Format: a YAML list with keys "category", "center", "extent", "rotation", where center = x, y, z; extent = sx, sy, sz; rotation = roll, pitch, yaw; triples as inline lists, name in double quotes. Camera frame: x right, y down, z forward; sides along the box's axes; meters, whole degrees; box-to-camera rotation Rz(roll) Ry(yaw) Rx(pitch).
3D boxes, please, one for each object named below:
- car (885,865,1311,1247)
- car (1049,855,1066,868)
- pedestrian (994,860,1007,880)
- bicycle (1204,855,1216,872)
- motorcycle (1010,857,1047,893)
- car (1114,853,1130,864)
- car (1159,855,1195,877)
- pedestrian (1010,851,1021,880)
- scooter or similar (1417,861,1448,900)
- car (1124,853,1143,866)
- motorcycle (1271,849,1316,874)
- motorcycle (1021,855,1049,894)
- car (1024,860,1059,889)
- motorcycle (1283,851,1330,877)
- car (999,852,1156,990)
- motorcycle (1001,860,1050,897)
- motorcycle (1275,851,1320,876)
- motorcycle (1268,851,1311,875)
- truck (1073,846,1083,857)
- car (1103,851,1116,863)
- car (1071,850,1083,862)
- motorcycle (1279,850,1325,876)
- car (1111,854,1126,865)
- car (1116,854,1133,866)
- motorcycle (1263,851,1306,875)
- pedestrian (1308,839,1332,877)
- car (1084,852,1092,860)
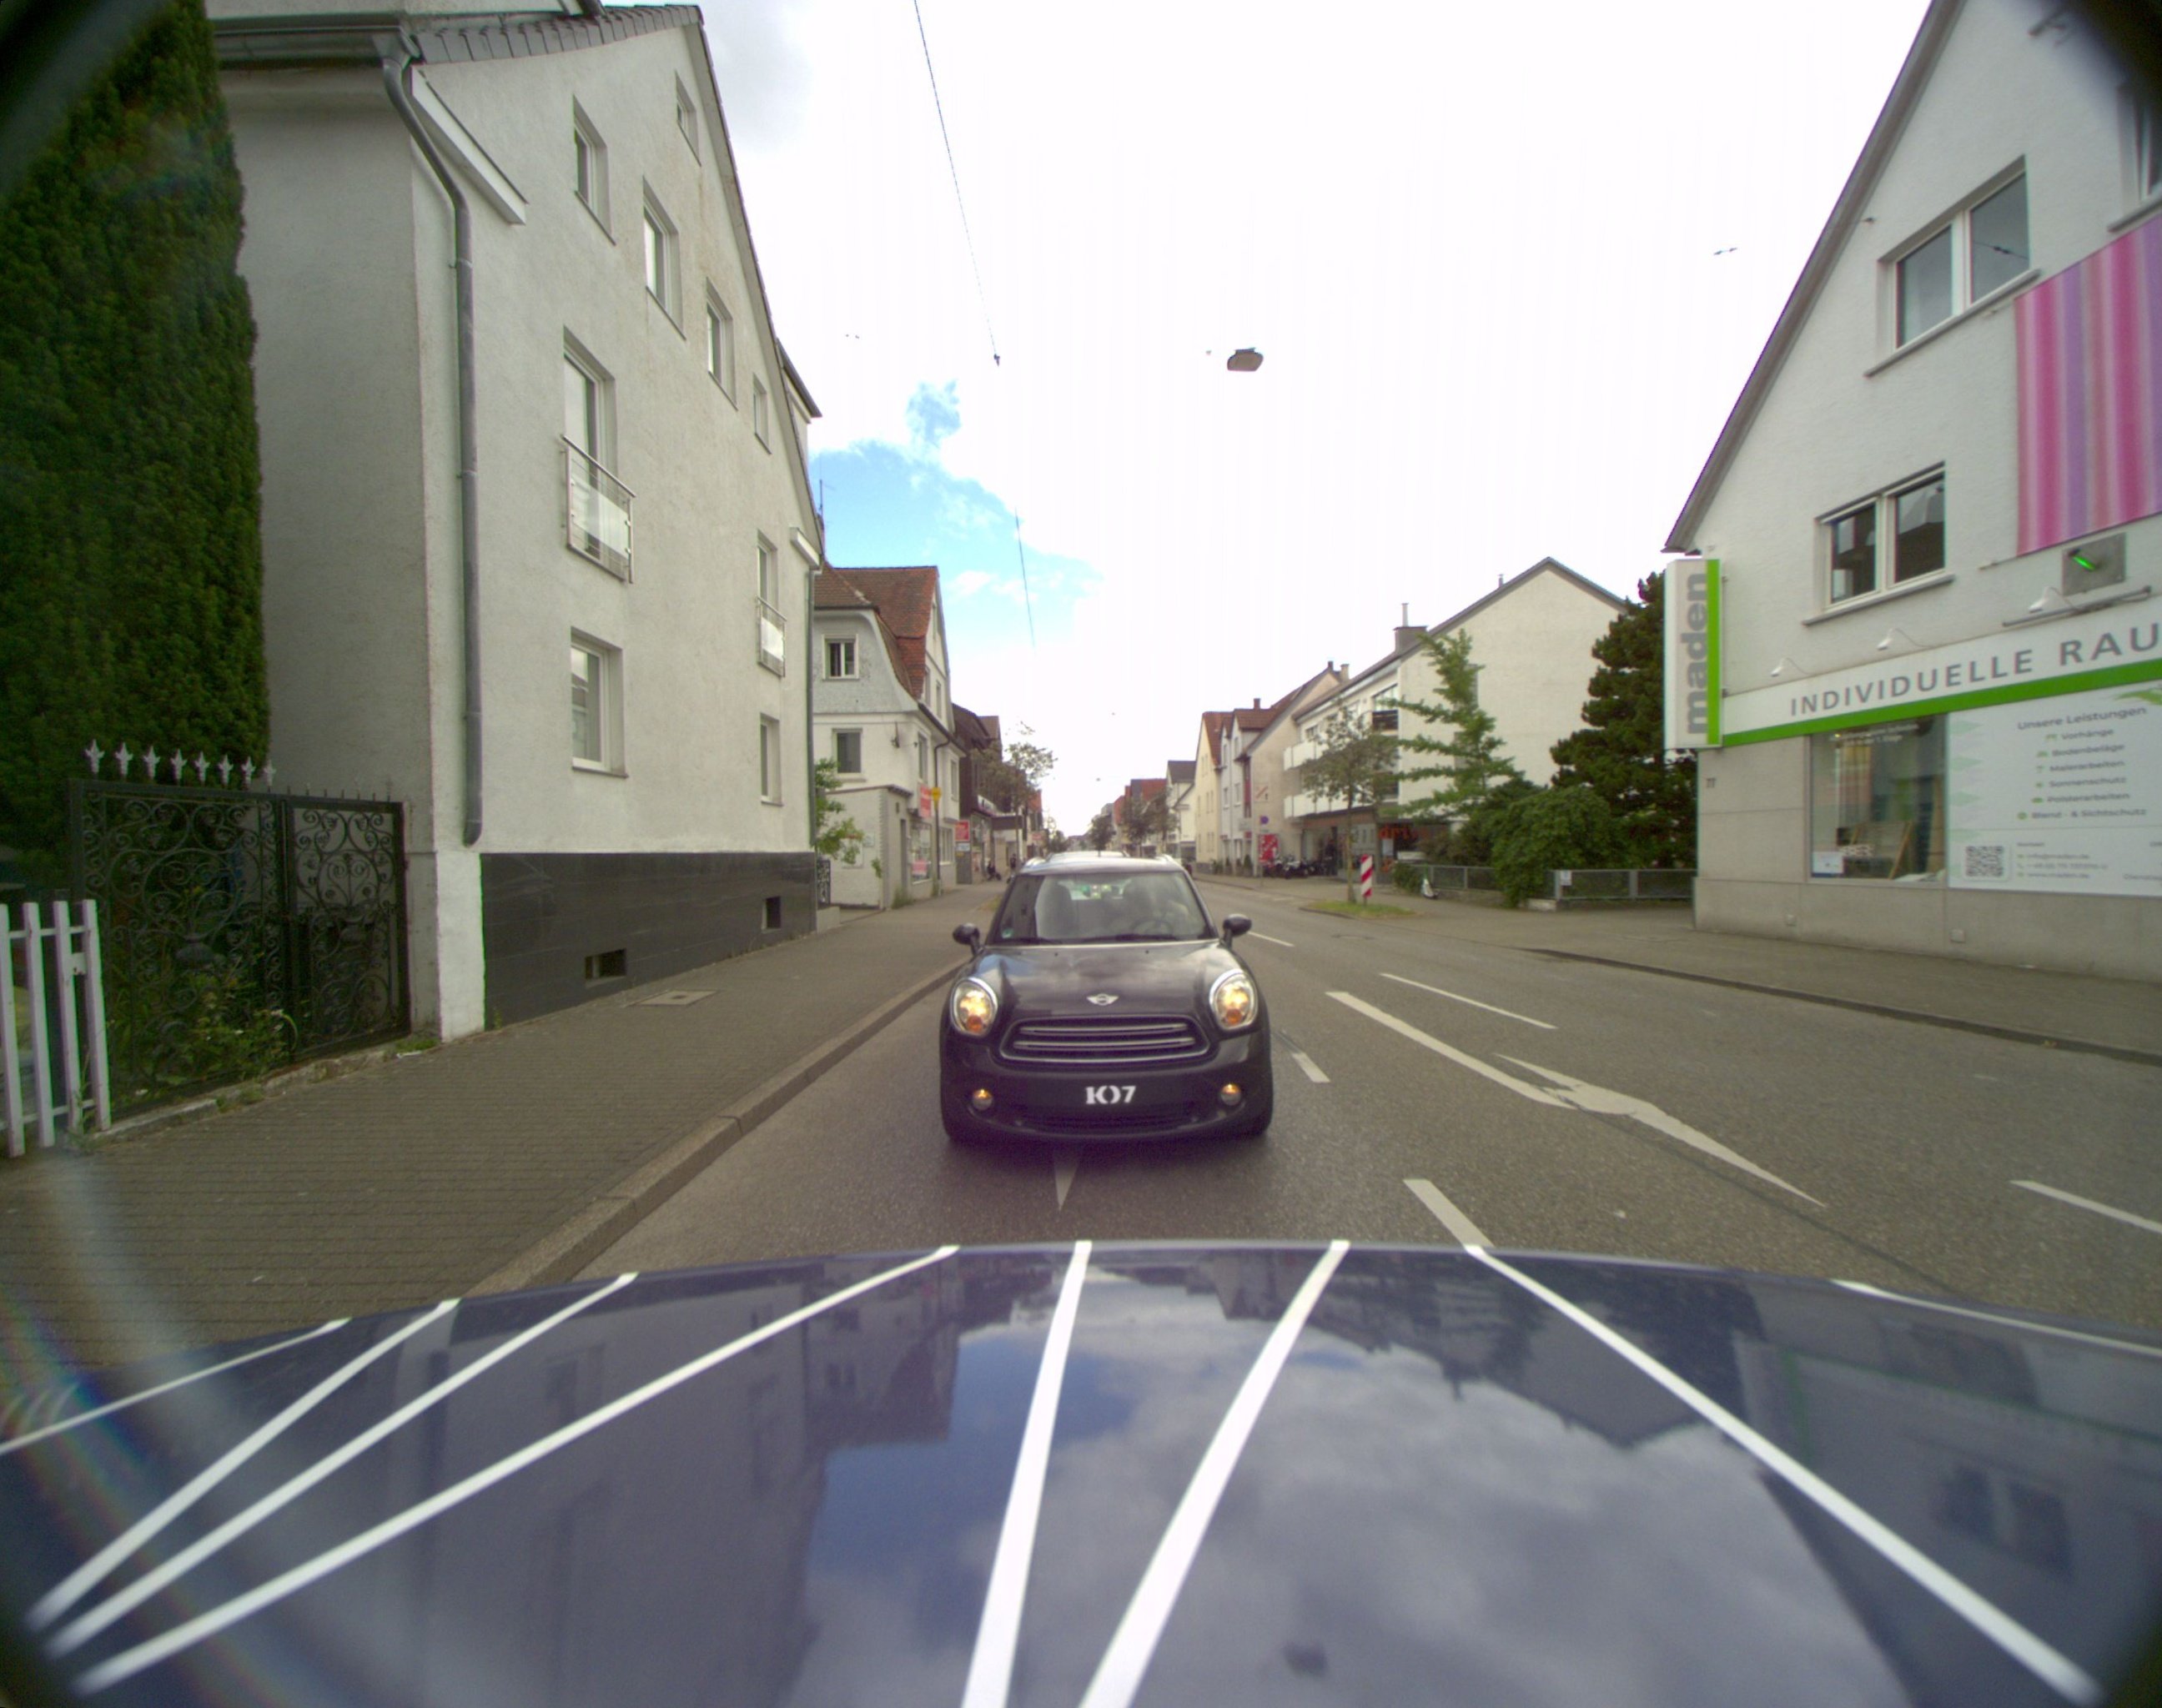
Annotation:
- category: "car"
  center: [0.003, 0.927, 5.742]
  extent: [1.855, 1.527, 4.735]
  rotation: [-2, 0, -2]
- category: "car"
  center: [-2.620, 0.815, 85.526]
  extent: [1.794, 1.356, 3.948]
  rotation: [1, 0, 0]
- category: "pedestrian"
  center: [-4.951, 0.984, 46.834]
  extent: [0.742, 1.204, 0.644]
  rotation: [0, 1, -1]
- category: "bicycle"
  center: [9.412, 0.671, 55.483]
  extent: [0.515, 1.189, 2.023]
  rotation: [-2, 1, -1]
- category: "motorcycle"
  center: [-2.254, 0.873, 32.937]
  extent: [0.648, 1.432, 2.472]
  rotation: [-1, 1, 19]
- category: "car"
  center: [5.471, 0.575, 102.157]
  extent: [1.716, 1.389, 3.899]
  rotation: [-2, 0, -2]
- category: "car"
  center: [6.440, 0.787, 51.139]
  extent: [1.792, 1.409, 4.340]
  rotation: [0, 0, -1]
- category: "pedestrian"
  center: [-3.998, 0.668, 46.094]
  extent: [0.644, 1.730, 0.742]
  rotation: [0, 1, -6]
- category: "scooter or similar"
  center: [10.362, 0.765, 22.442]
  extent: [0.340, 1.105, 1.180]
  rotation: [-2, 1, 0]
- category: "car"
  center: [5.942, 0.601, 86.484]
  extent: [1.716, 1.389, 3.899]
  rotation: [-2, 0, -2]
- category: "motorcycle"
  center: [11.863, 0.407, 42.476]
  extent: [2.231, 1.258, 0.699]
  rotation: [-4, 1, -2]
- category: "motorcycle"
  center: [-1.893, 0.839, 31.751]
  extent: [0.672, 1.516, 2.599]
  rotation: [-2, 1, 6]
- category: "car"
  center: [-2.173, 1.119, 43.146]
  extent: [1.830, 1.400, 4.564]
  rotation: [-2, 0, -1]
- category: "motorcycle"
  center: [11.869, 0.518, 39.993]
  extent: [2.231, 1.258, 0.613]
  rotation: [-4, 1, -2]
- category: "car"
  center: [-0.025, 0.807, 11.596]
  extent: [1.855, 1.615, 4.736]
  rotation: [-2, 0, 0]
- category: "motorcycle"
  center: [-2.175, 0.924, 29.400]
  extent: [0.777, 1.373, 2.237]
  rotation: [-2, 1, -37]
- category: "motorcycle"
  center: [11.866, 0.521, 41.682]
  extent: [2.231, 1.258, 0.613]
  rotation: [-4, 1, -2]
- category: "motorcycle"
  center: [11.858, 0.511, 43.265]
  extent: [2.231, 1.258, 0.613]
  rotation: [-4, 1, -2]
- category: "truck"
  center: [-0.896, -0.690, 219.287]
  extent: [2.800, 3.020, 8.250]
  rotation: [-2, 0, 0]
- category: "car"
  center: [4.617, 0.455, 124.308]
  extent: [1.999, 1.772, 3.999]
  rotation: [-2, 0, 0]
- category: "car"
  center: [-0.751, 0.347, 142.710]
  extent: [2.059, 2.002, 4.186]
  rotation: [-2, 0, -1]
- category: "motorcycle"
  center: [11.857, 0.499, 40.874]
  extent: [2.231, 1.258, 0.613]
  rotation: [-4, 1, -2]
- category: "car"
  center: [5.263, 0.760, 107.802]
  extent: [1.716, 1.389, 3.899]
  rotation: [-2, 0, -2]
- category: "car"
  center: [5.573, 0.733, 97.078]
  extent: [1.716, 1.389, 3.899]
  rotation: [-2, 0, -2]
- category: "motorcycle"
  center: [11.786, 0.508, 44.033]
  extent: [2.231, 1.258, 0.613]
  rotation: [-4, 1, -2]
- category: "pedestrian"
  center: [12.150, 0.190, 38.619]
  extent: [0.753, 1.838, 1.019]
  rotation: [-5, 1, 0]
- category: "car"
  center: [1.815, 0.454, 193.320]
  extent: [1.855, 1.932, 4.489]
  rotation: [1, 0, -2]
